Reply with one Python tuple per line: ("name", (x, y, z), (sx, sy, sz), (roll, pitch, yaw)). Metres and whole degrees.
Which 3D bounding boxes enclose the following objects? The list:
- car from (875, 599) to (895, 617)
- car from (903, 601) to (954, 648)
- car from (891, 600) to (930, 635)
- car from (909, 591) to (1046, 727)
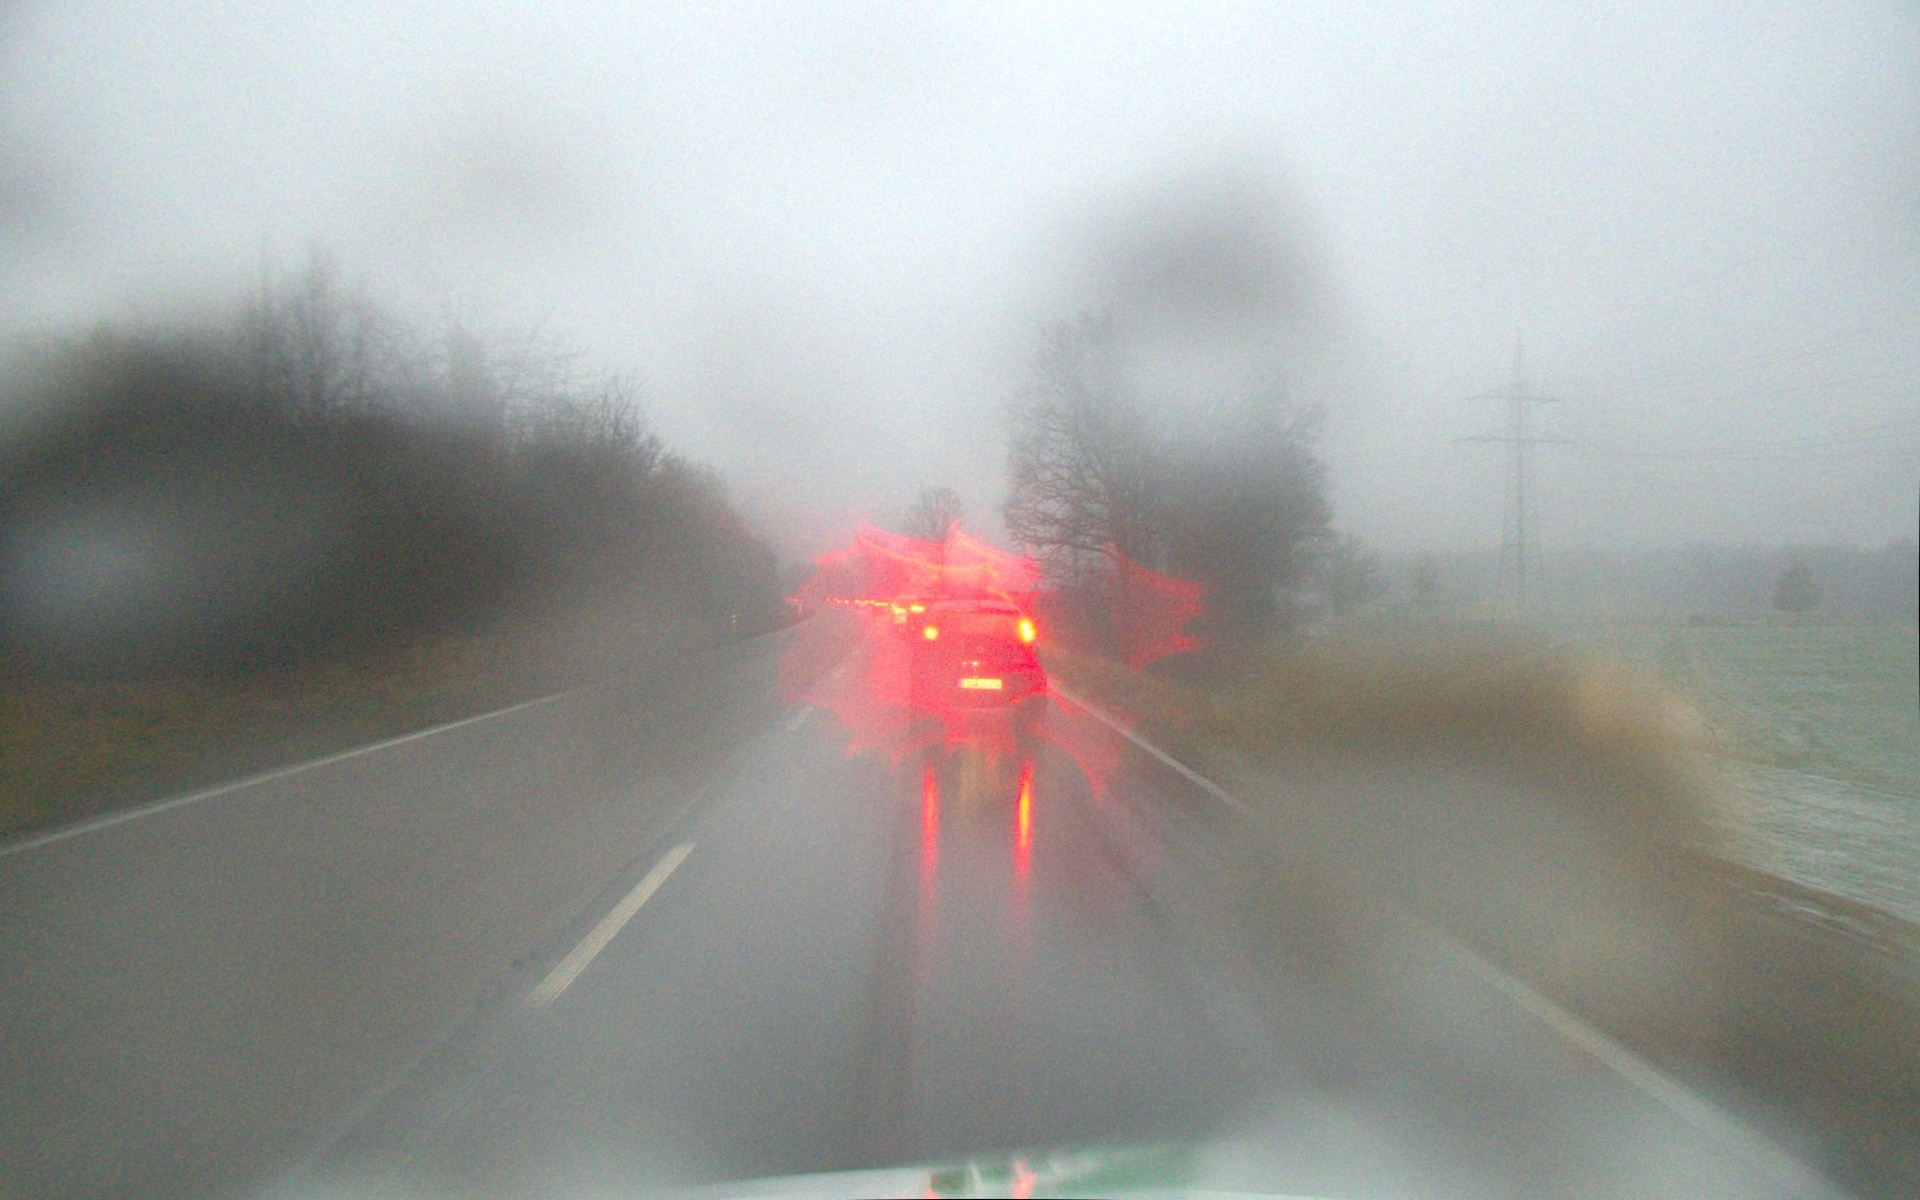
("car", (-6.375, 0.683, 140.240), (1.515, 1.421, 3.869), (1, 0, 0))
("car", (-0.997, 0.749, 52.575), (1.515, 1.421, 3.868), (1, 0, -1))
("car", (-2.117, 0.744, 71.664), (1.515, 1.421, 3.870), (1, 0, 1))
("car", (0.264, 0.682, 21.121), (1.569, 1.549, 3.870), (1, 0, 2))
